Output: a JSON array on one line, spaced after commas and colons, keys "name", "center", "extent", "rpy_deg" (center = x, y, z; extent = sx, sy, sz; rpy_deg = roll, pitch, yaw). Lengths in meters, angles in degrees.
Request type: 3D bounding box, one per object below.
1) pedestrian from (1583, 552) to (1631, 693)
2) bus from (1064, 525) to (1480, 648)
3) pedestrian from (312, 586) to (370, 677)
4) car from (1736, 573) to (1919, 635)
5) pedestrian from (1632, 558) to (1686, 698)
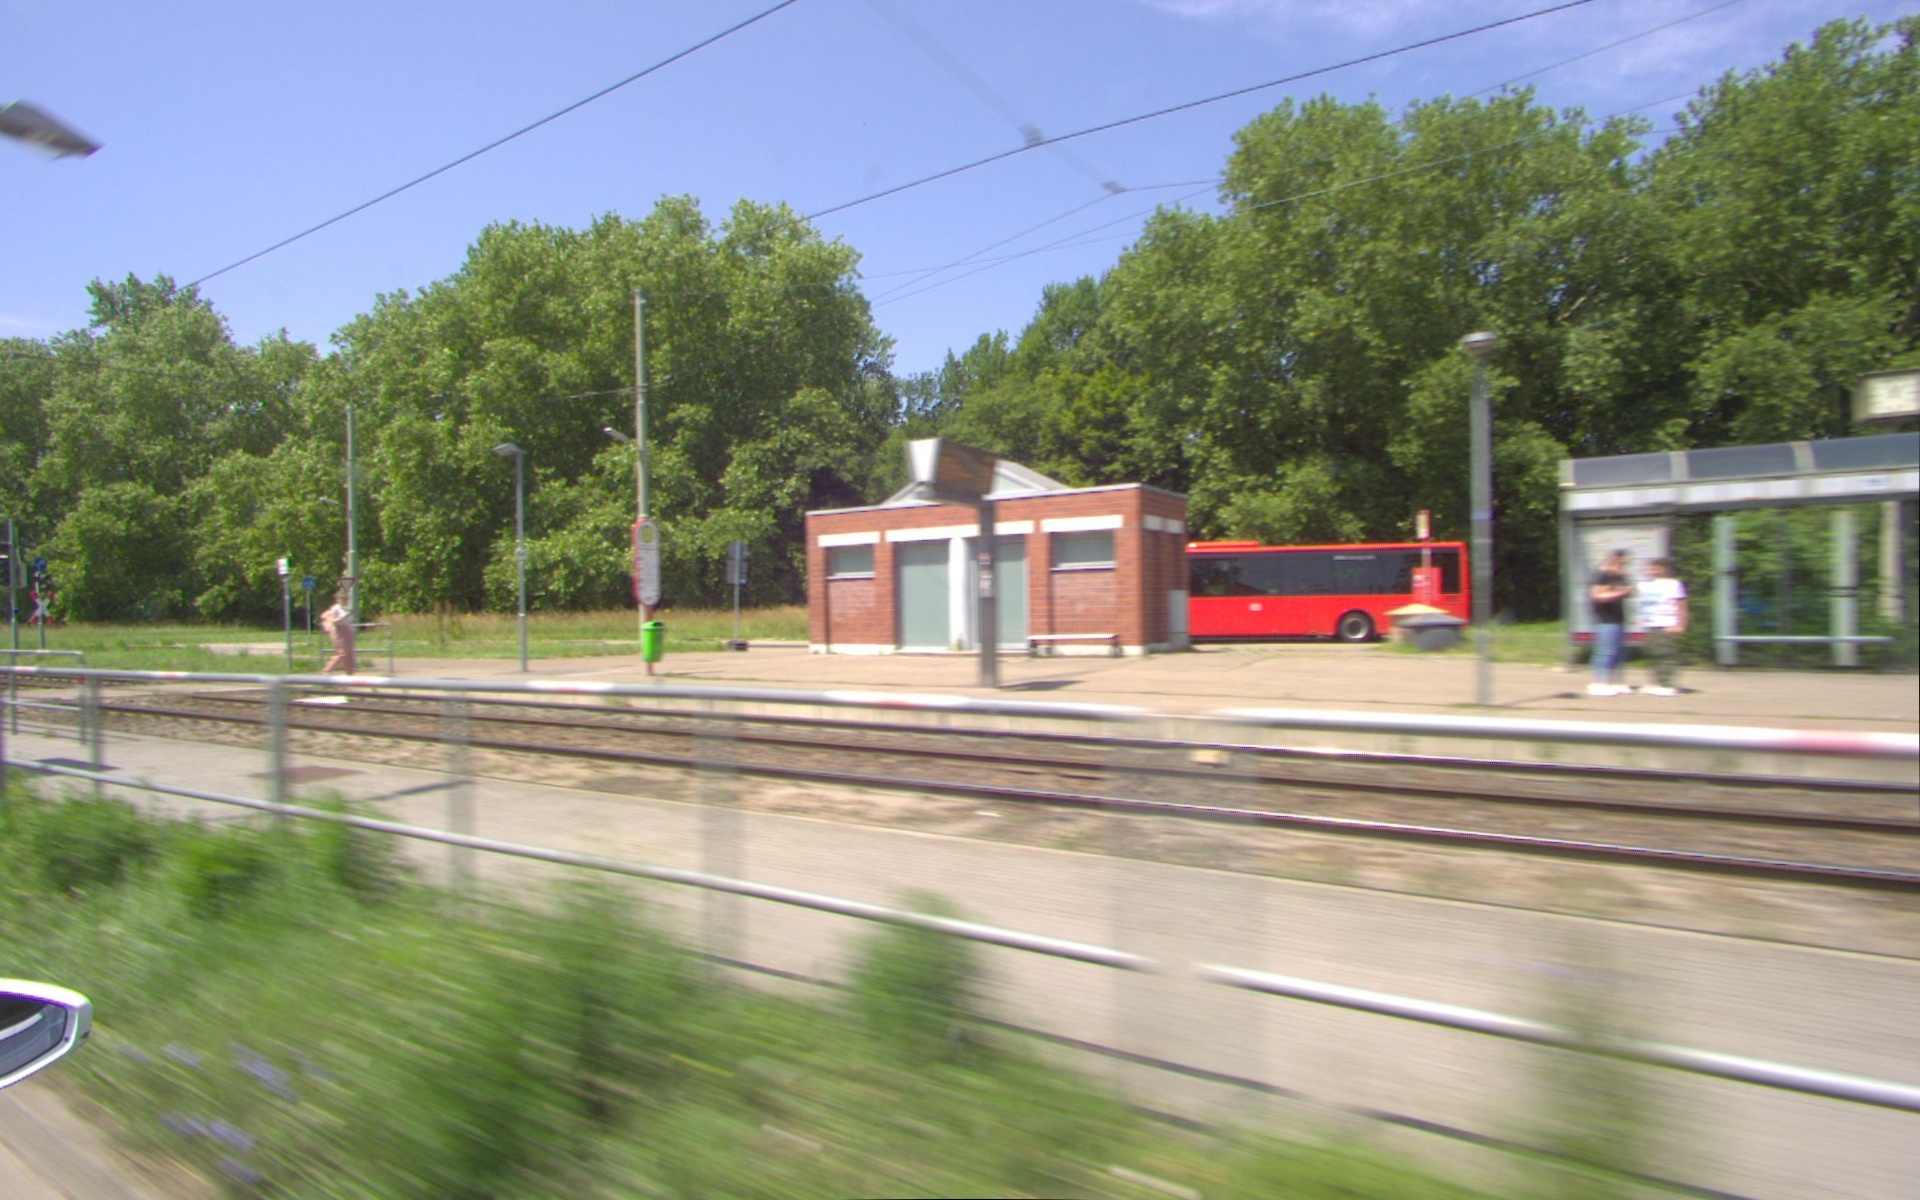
[{"name": "pedestrian", "center": [7.824, 0.273, 12.101], "extent": [0.439, 1.667, 0.359], "rpy_deg": [-2, -1, 35]}, {"name": "bus", "center": [9.625, -0.291, 32.228], "extent": [12.214, 3.482, 2.767], "rpy_deg": [-1, -2, 13]}, {"name": "pedestrian", "center": [-12.466, 0.641, 20.175], "extent": [0.802, 1.781, 0.635], "rpy_deg": [-1, -1, 19]}, {"name": "car", "center": [25.224, 0.106, 28.433], "extent": [4.637, 1.650, 1.998], "rpy_deg": [-1, 0, 12]}, {"name": "pedestrian", "center": [8.283, 0.335, 11.870], "extent": [0.477, 1.617, 0.359], "rpy_deg": [-2, -1, 36]}]
